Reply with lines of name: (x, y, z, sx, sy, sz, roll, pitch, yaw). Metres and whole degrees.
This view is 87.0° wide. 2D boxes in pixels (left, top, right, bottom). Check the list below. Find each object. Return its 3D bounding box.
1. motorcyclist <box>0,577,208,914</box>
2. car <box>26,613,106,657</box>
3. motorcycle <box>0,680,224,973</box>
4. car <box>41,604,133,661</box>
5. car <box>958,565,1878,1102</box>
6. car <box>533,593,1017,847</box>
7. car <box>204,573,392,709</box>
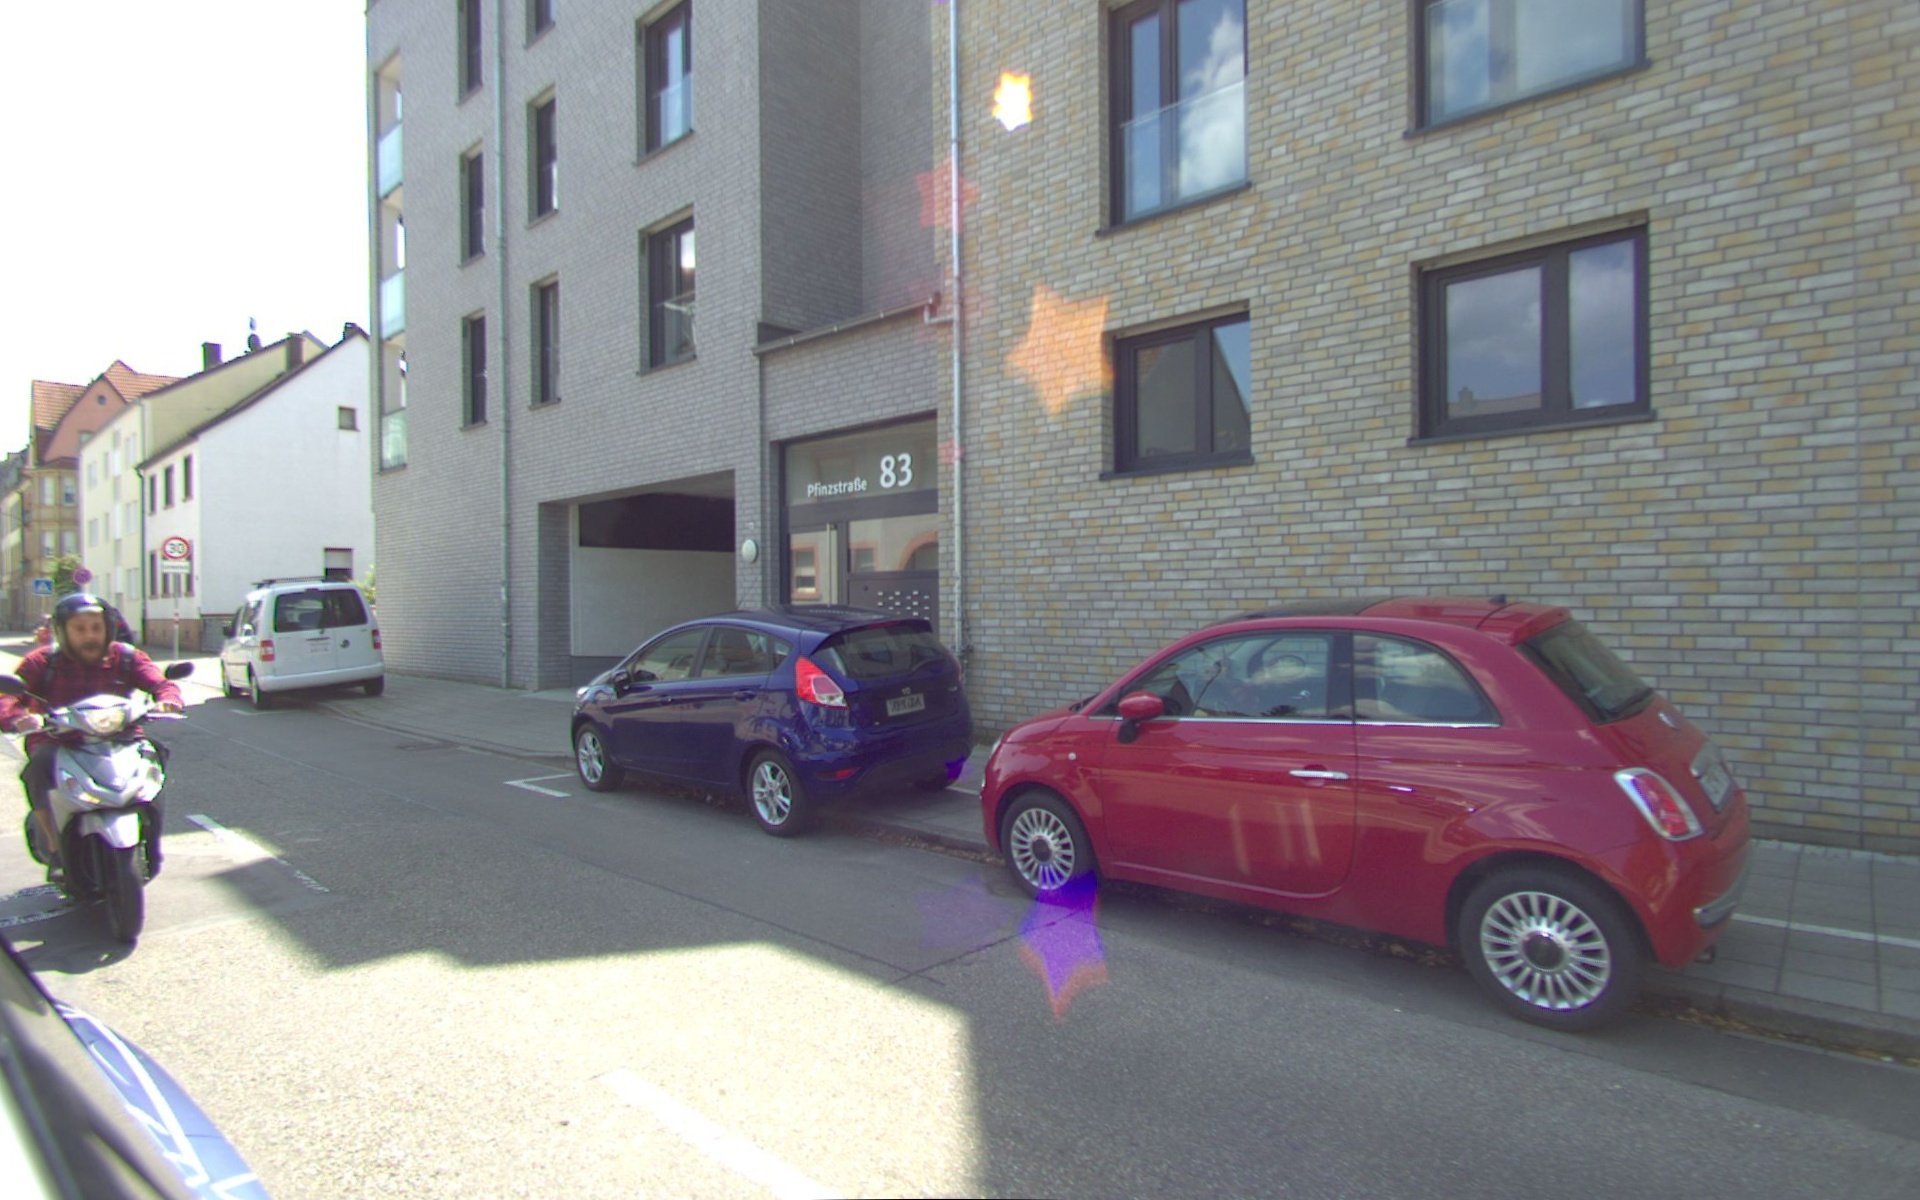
motorcyclist: (-4.310, 0.634, 4.979, 1.020, 1.451, 0.782, -2, 0, 43)
car: (-31.409, 1.174, 35.509, 4.291, 1.427, 1.813, -1, 0, 45)
motorcycle: (-4.386, 0.996, 5.068, 1.992, 1.063, 0.750, -2, 0, 43)
car: (-27.819, 0.992, 32.197, 3.945, 1.659, 1.775, -1, 1, 43)
car: (1.848, 0.693, 4.736, 3.569, 1.565, 1.574, -1, 0, 42)
car: (-1.641, 0.727, 8.004, 4.005, 1.467, 1.704, -1, 1, 43)
car: (-10.977, 0.607, 16.649, 1.737, 1.906, 4.340, -4, 2, -44)
